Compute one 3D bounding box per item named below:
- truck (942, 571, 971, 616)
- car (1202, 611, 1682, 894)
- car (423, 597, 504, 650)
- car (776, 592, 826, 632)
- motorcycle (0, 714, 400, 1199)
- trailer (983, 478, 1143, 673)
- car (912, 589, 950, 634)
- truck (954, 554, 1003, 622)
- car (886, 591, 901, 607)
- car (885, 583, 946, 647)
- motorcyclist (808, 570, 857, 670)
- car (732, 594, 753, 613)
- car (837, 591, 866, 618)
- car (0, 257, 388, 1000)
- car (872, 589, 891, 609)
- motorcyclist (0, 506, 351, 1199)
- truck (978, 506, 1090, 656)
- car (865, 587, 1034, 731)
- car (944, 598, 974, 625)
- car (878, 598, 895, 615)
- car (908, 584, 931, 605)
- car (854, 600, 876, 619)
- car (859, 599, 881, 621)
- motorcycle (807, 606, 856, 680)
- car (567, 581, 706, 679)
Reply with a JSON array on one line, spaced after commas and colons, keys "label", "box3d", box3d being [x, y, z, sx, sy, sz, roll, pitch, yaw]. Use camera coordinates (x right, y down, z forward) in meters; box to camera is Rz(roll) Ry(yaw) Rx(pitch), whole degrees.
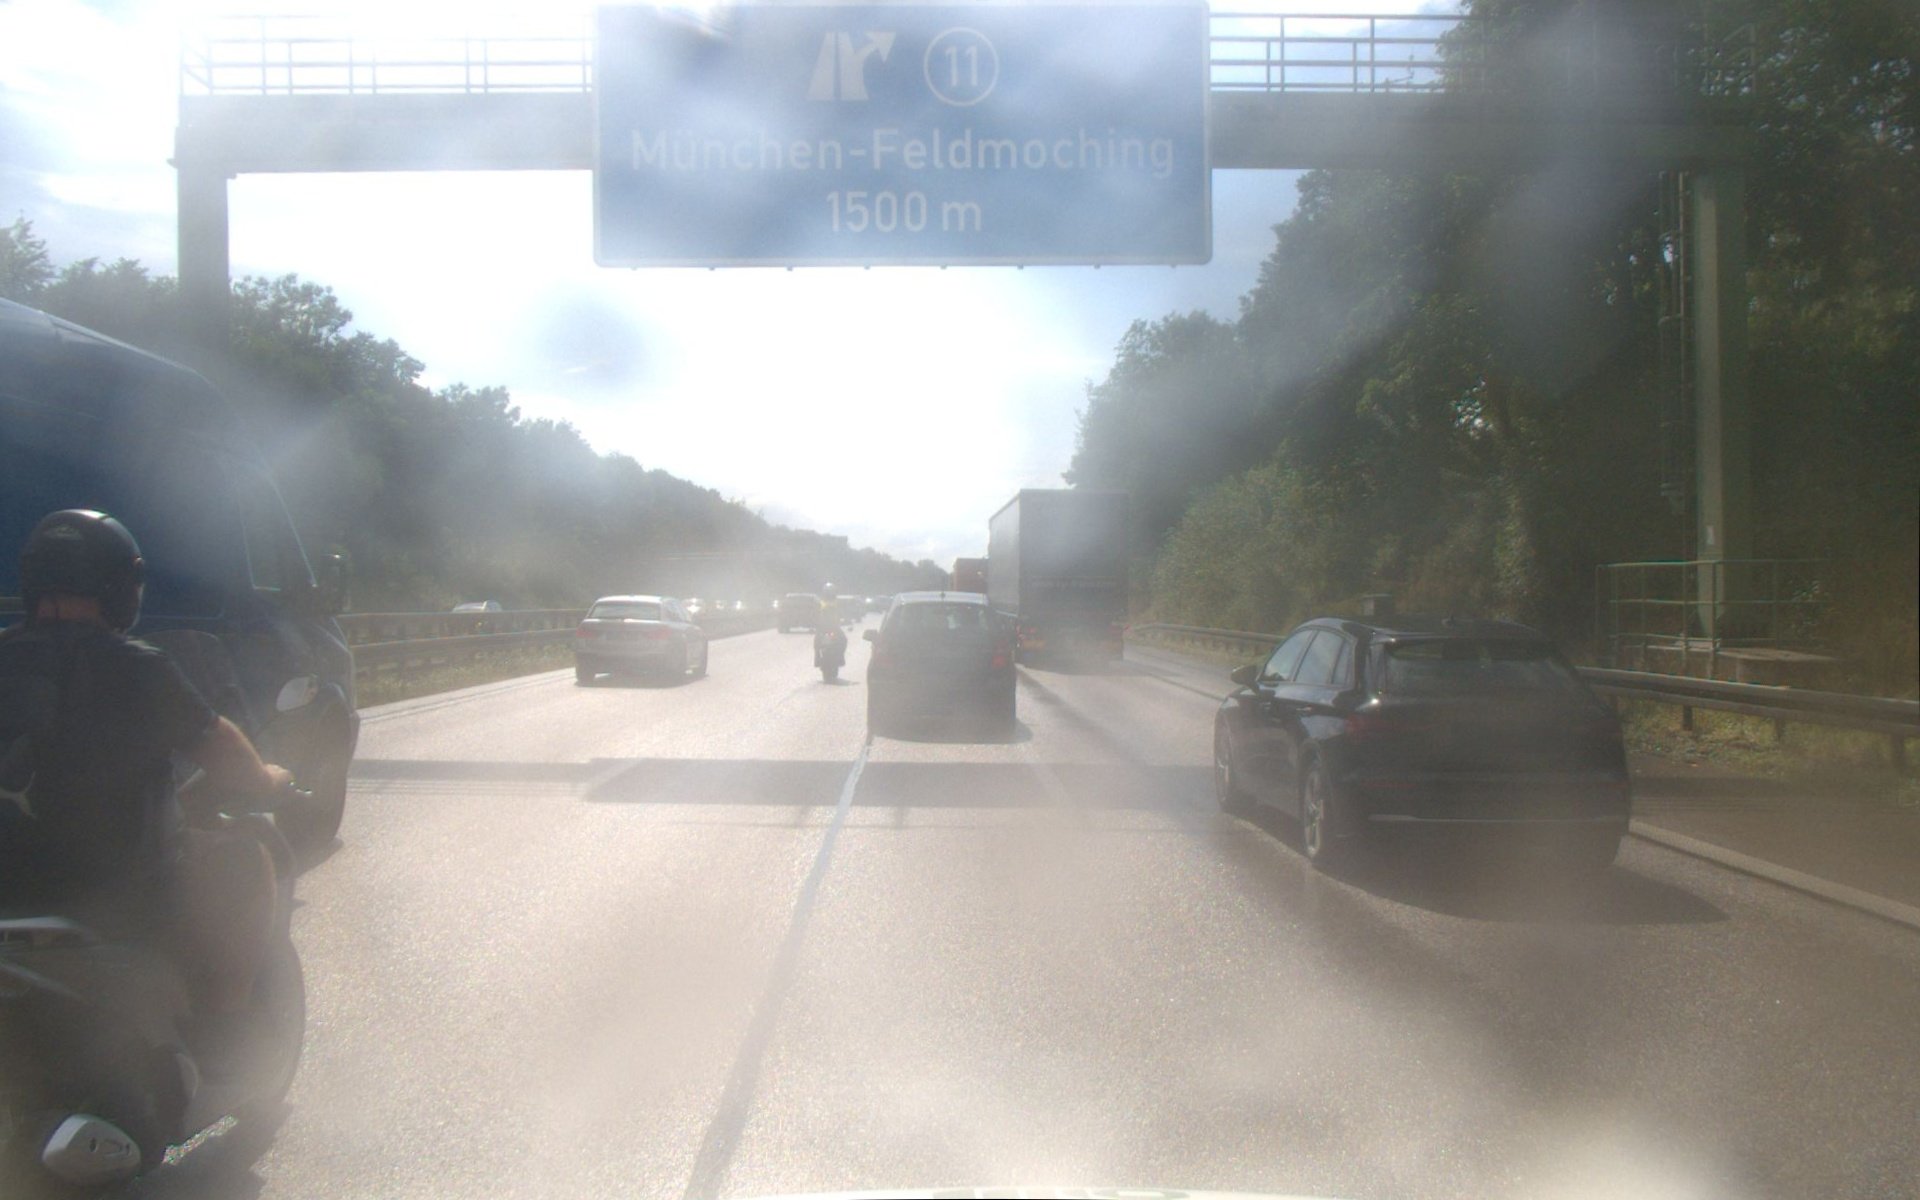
[{"label": "truck", "box3d": [-0.446, -0.635, 182.729, 2.823, 4.769, 12.654, 1, 0, -1]}, {"label": "car", "box3d": [2.803, 0.800, 10.692, 1.719, 1.421, 4.367, 0, 0, -2]}, {"label": "car", "box3d": [-19.478, 0.896, 65.072, 1.953, 1.999, 4.394, 0, 0, -1]}, {"label": "car", "box3d": [-6.813, 0.494, 71.181, 1.855, 1.656, 4.193, 0, 0, -2]}, {"label": "motorcycle", "box3d": [-1.934, 0.898, 3.911, 0.662, 1.106, 1.980, 1, 0, -4]}, {"label": "trailer", "box3d": [2.434, -0.556, 44.520, 3.026, 4.388, 14.100, 0, 0, -2]}, {"label": "car", "box3d": [-1.321, 0.503, 74.708, 1.641, 1.970, 3.772, 0, 0, -2]}, {"label": "truck", "box3d": [1.201, -0.791, 113.711, 3.137, 4.481, 9.430, 1, 0, -1]}, {"label": "car", "box3d": [-8.808, -0.162, 220.344, 1.953, 2.049, 3.998, 1, 0, -2]}, {"label": "car", "box3d": [-1.494, 0.493, 55.008, 1.953, 2.049, 3.998, 1, 0, -2]}, {"label": "motorcyclist", "box3d": [-2.334, 0.365, 30.379, 0.805, 1.791, 1.390, 1, -1, -2]}, {"label": "car", "box3d": [-24.854, 0.396, 189.223, 1.953, 2.049, 3.999, 2, 0, -2]}, {"label": "car", "box3d": [-6.707, 0.283, 102.655, 1.641, 1.625, 3.435, 0, 0, -2]}, {"label": "car", "box3d": [-4.509, 0.094, 7.456, 1.975, 2.695, 5.775, 0, 0, -2]}, {"label": "car", "box3d": [-8.582, -0.104, 180.199, 1.953, 2.049, 3.998, 1, 0, -2]}, {"label": "motorcyclist", "box3d": [-1.933, 0.545, 3.897, 0.657, 1.467, 1.019, 1, -1, -5]}, {"label": "truck", "box3d": [2.210, -0.572, 51.758, 2.991, 4.400, 5.883, 1, 0, -2]}, {"label": "car", "box3d": [-0.178, 0.662, 20.572, 1.876, 1.592, 4.312, 0, 0, -2]}, {"label": "car", "box3d": [-0.082, 0.673, 95.468, 1.641, 1.516, 3.435, 0, 0, -2]}, {"label": "car", "box3d": [-9.034, 0.795, 202.614, 1.953, 2.049, 3.998, 1, 0, -2]}, {"label": "car", "box3d": [-2.980, -0.420, 121.201, 1.599, 1.516, 3.435, 0, 0, -2]}, {"label": "car", "box3d": [-7.627, 0.760, 132.878, 1.641, 1.516, 3.435, 0, 0, -2]}, {"label": "car", "box3d": [-8.607, 0.948, 158.738, 1.953, 2.049, 3.998, 1, 0, -2]}, {"label": "motorcycle", "box3d": [-2.339, 0.767, 30.314, 0.803, 1.285, 2.116, 1, 0, -2]}, {"label": "car", "box3d": [-5.692, 0.500, 29.580, 1.723, 1.622, 4.329, 0, 0, -2]}]
